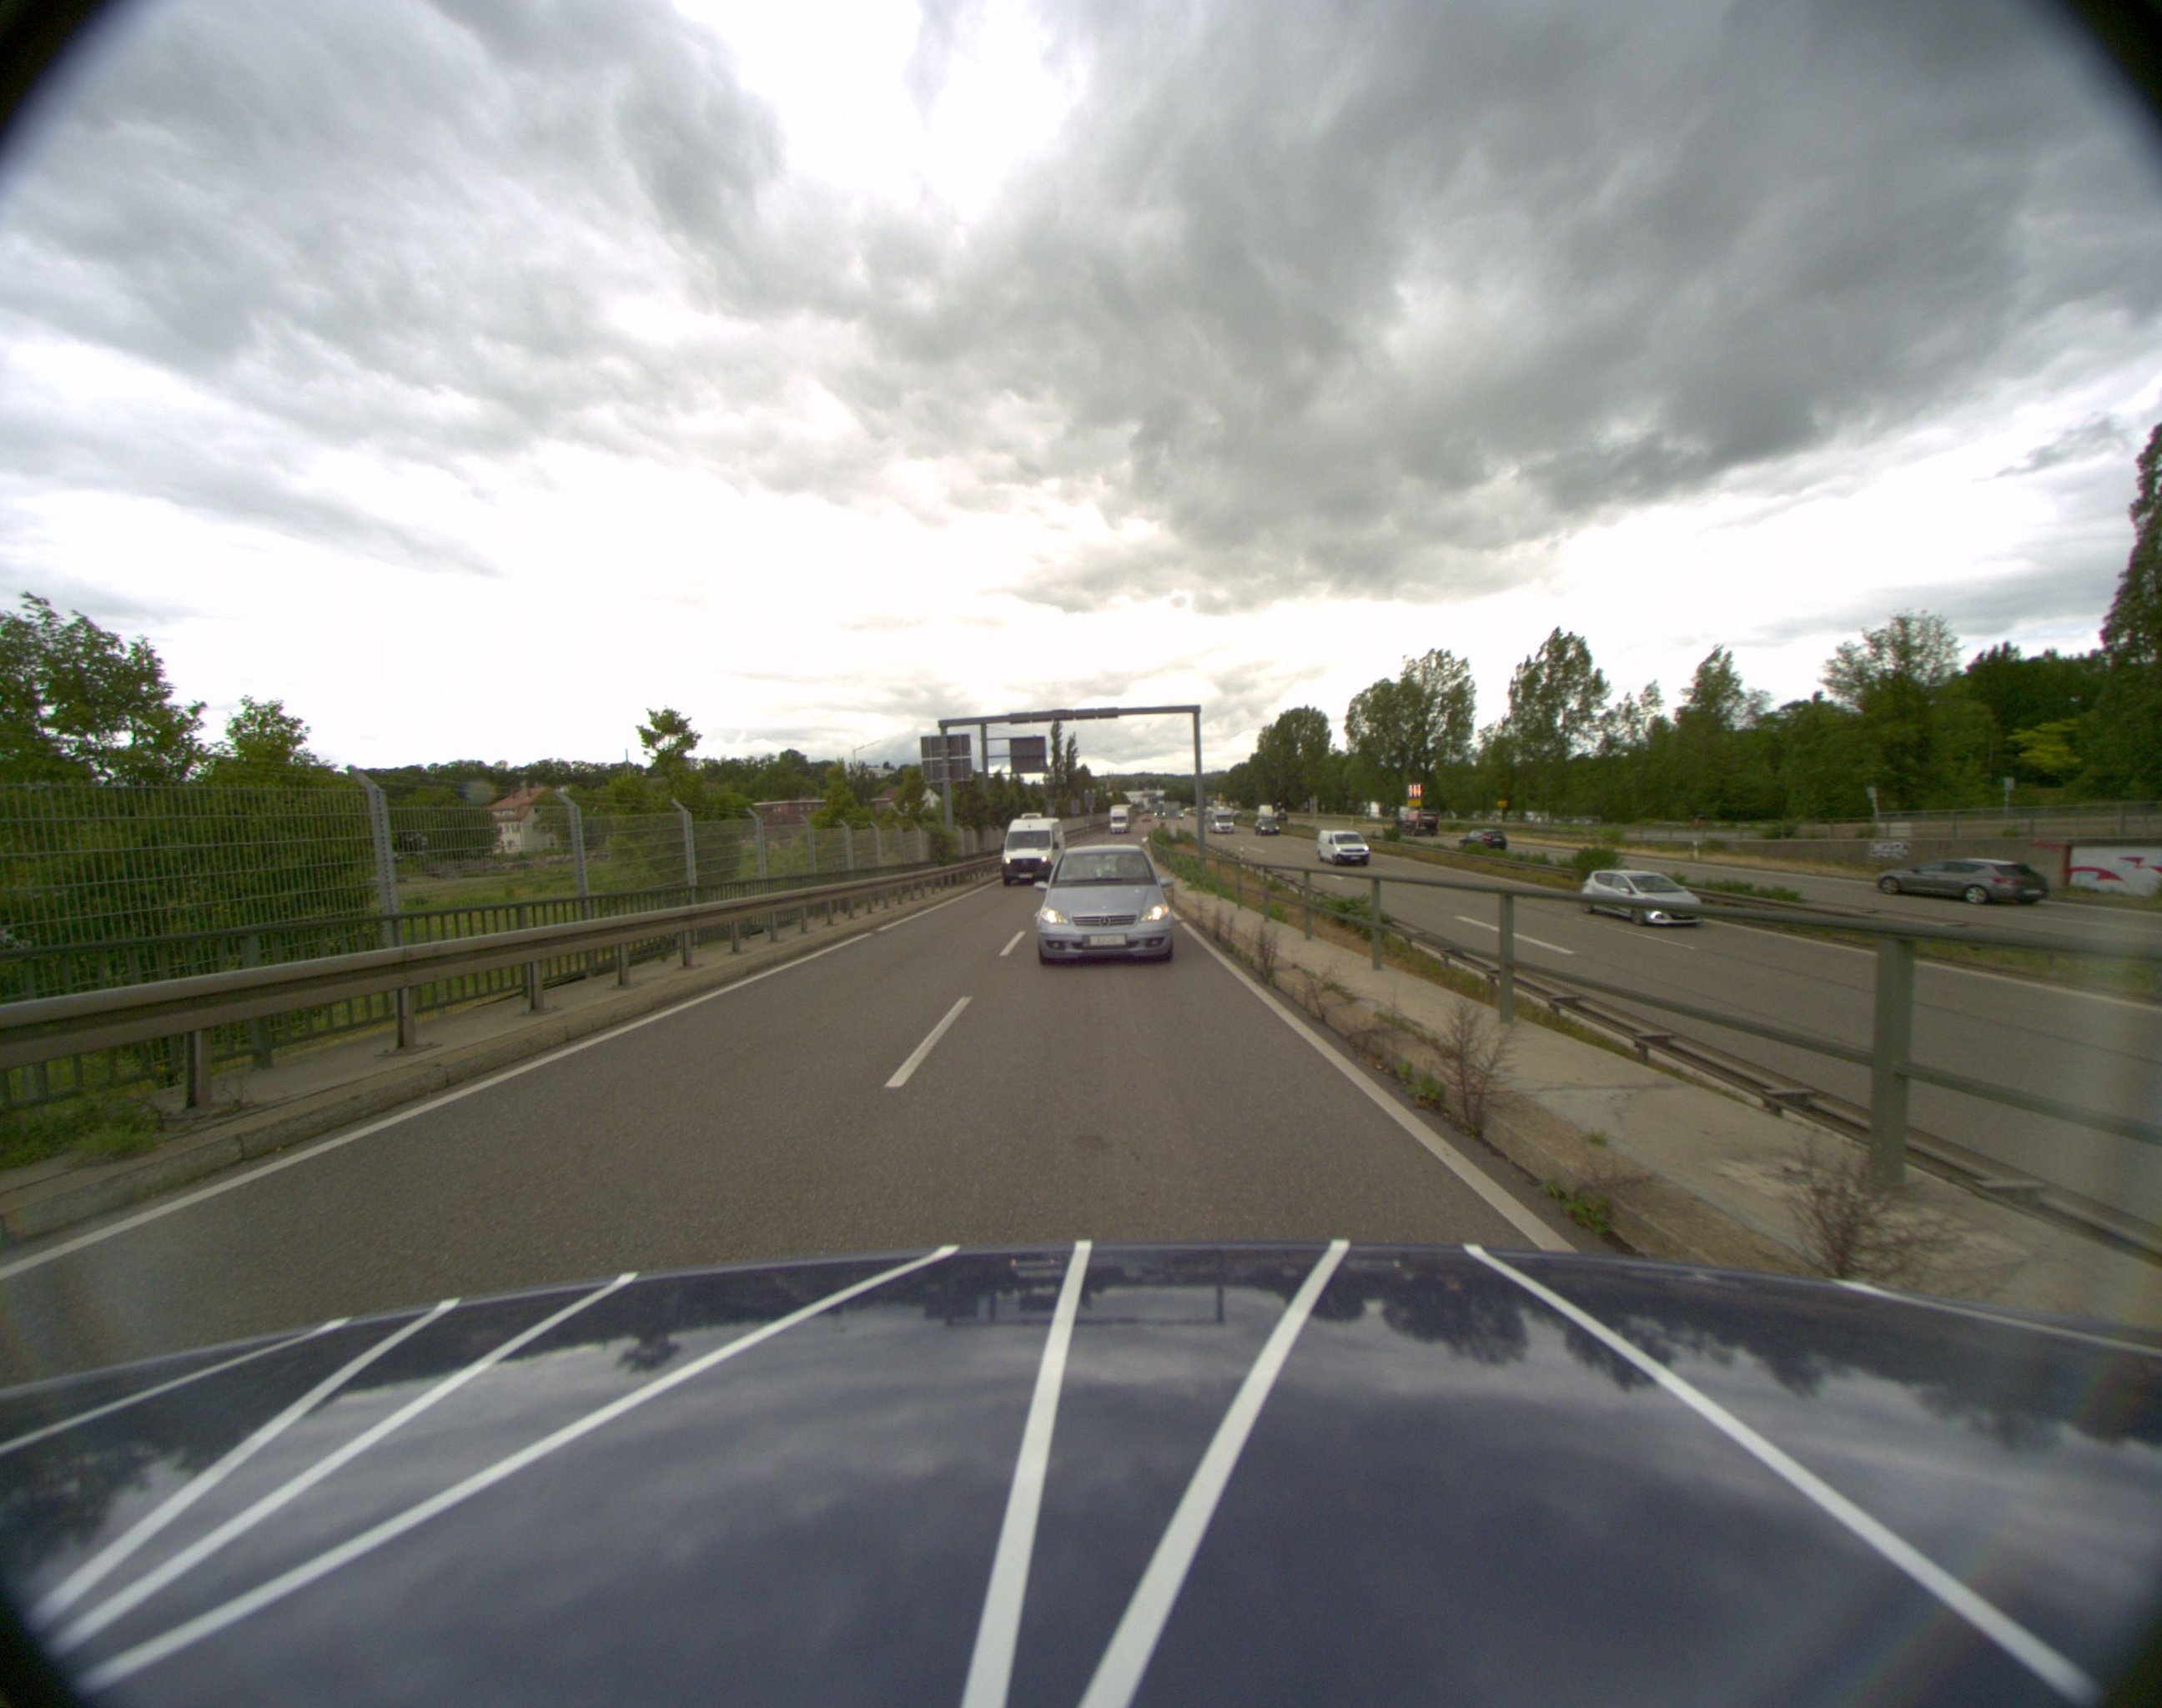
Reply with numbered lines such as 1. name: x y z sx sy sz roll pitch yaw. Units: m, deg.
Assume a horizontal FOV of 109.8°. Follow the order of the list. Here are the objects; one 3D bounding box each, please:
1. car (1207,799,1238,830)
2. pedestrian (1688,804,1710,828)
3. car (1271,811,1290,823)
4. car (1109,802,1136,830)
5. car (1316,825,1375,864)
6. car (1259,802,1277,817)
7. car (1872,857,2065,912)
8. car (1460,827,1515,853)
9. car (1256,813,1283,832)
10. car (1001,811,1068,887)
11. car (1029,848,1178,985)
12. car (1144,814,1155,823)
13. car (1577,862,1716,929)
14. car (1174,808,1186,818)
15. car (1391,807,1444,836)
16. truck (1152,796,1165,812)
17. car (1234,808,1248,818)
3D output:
1. car: 15.951 -4.558 86.071 2.366 3.224 7.655 -2 5 4
2. pedestrian: 46.989 -2.898 57.783 0.832 1.696 1.077 -3 5 1
3. car: 30.474 -5.733 116.245 1.903 1.641 4.330 -1 4 1
4. car: 5.214 -4.642 93.503 2.664 3.311 7.092 -2 2 7
5. car: 15.429 -0.616 44.572 1.954 1.925 4.893 -2 5 3
6. car: 35.951 -8.619 146.416 2.215 2.765 5.356 -1 5 1
7. car: 30.170 0.977 26.055 1.715 1.369 4.107 -1 4 0
8. car: 27.638 -1.002 51.788 1.668 1.493 3.855 -1 5 1
9. car: 19.590 -3.289 78.999 1.845 1.704 4.276 -1 5 1
10. car: -1.793 -0.265 31.894 2.115 2.768 6.778 -2 1 2
11. car: 0.295 0.762 11.372 1.781 1.578 3.999 -2 1 0
12. car: 12.953 -6.623 142.957 1.780 1.578 4.000 -2 1 2
13. car: 17.268 1.190 23.438 1.560 1.545 3.679 -2 4 0
14. car: 20.609 -8.509 158.356 1.845 1.789 4.279 -2 1 1
15. car: 31.736 -3.154 71.914 2.250 2.534 6.109 -2 4 0
16. truck: 20.296 -13.131 199.030 2.758 4.229 6.693 -1 4 0
17. car: 28.344 -7.223 134.649 1.761 1.642 3.928 -2 5 0
